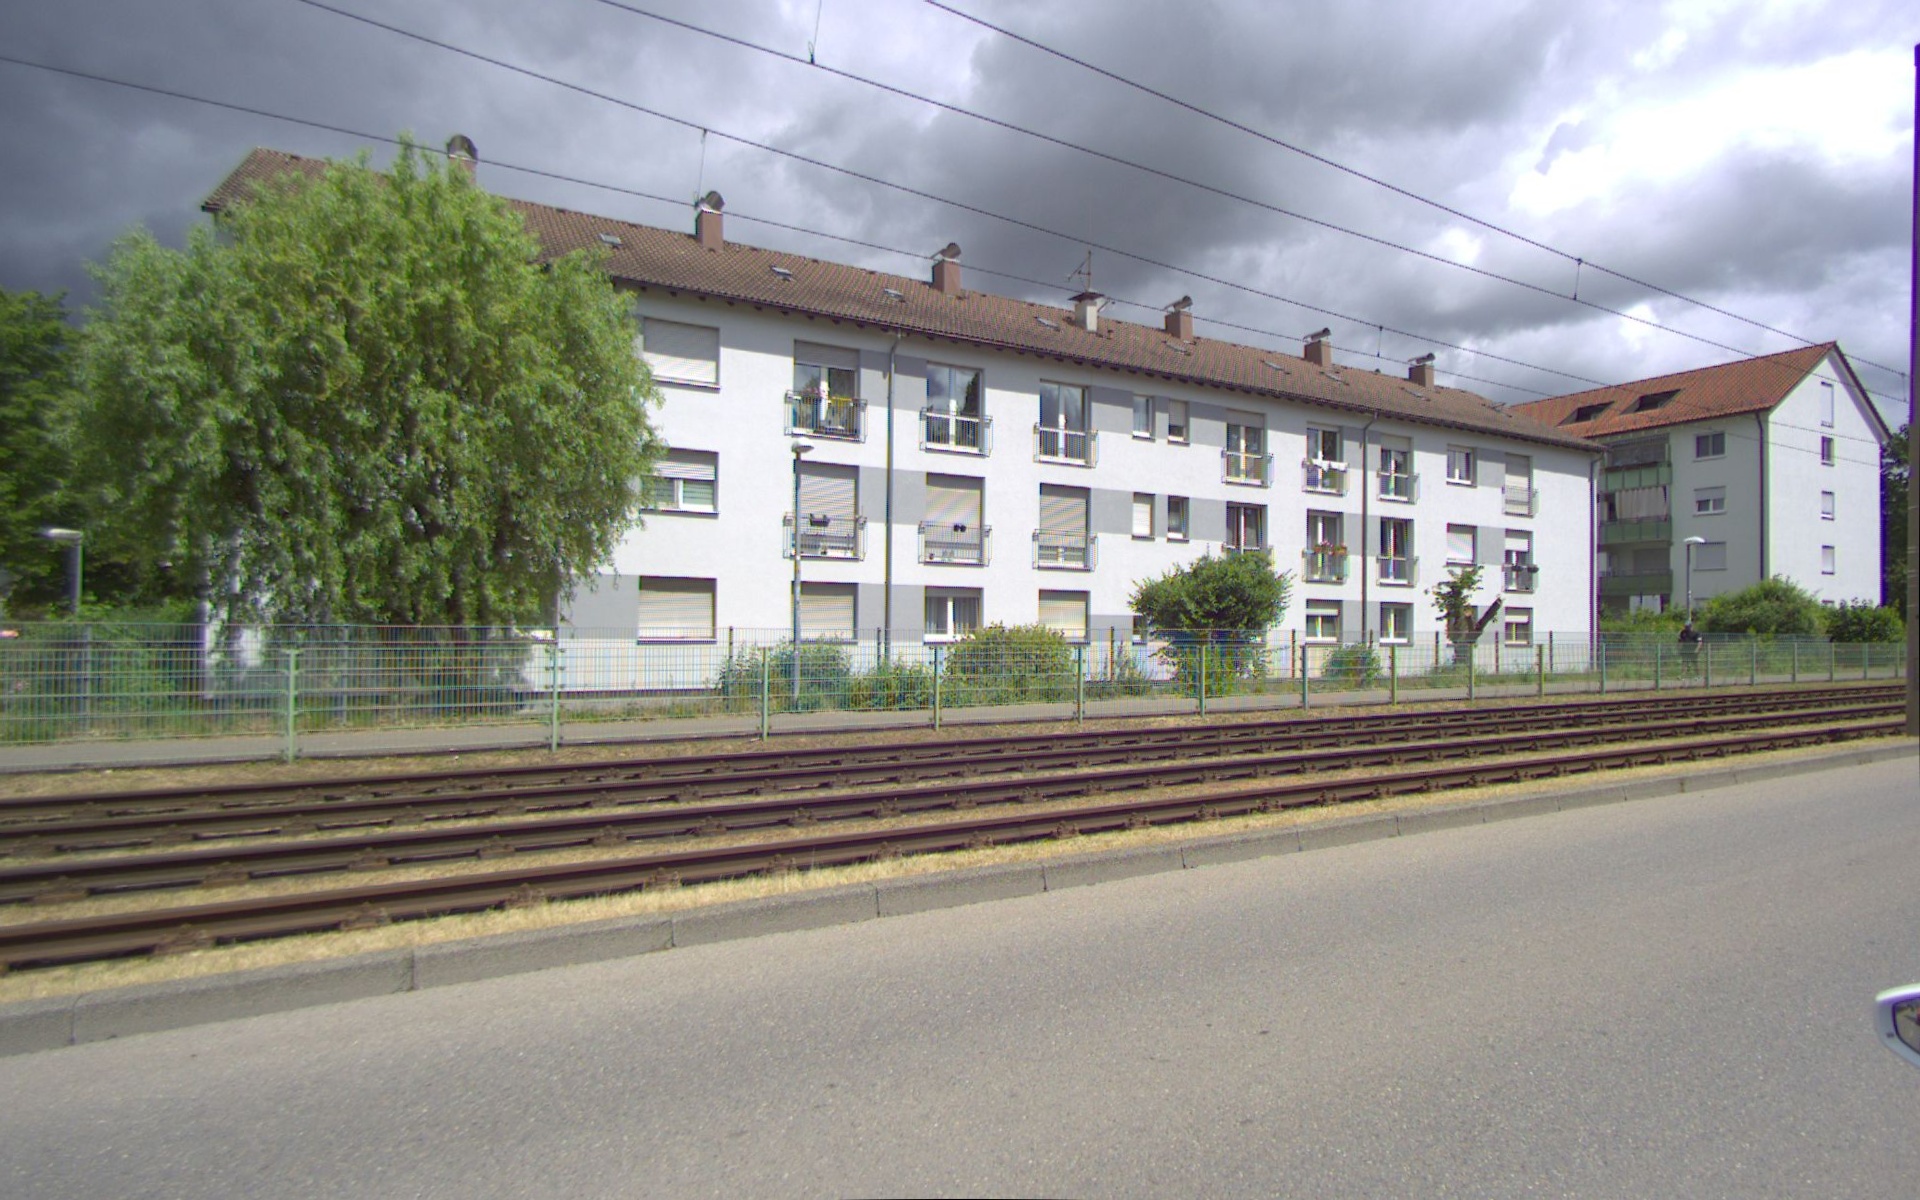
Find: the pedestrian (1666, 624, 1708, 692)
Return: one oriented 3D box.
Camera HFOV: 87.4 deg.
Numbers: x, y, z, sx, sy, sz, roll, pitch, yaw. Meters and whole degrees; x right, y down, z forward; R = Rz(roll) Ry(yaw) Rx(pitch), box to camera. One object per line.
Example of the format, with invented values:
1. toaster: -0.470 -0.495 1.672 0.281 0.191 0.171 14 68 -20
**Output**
1. pedestrian: 20.455 1.624 28.261 0.759 1.873 0.656 1 -2 -30
